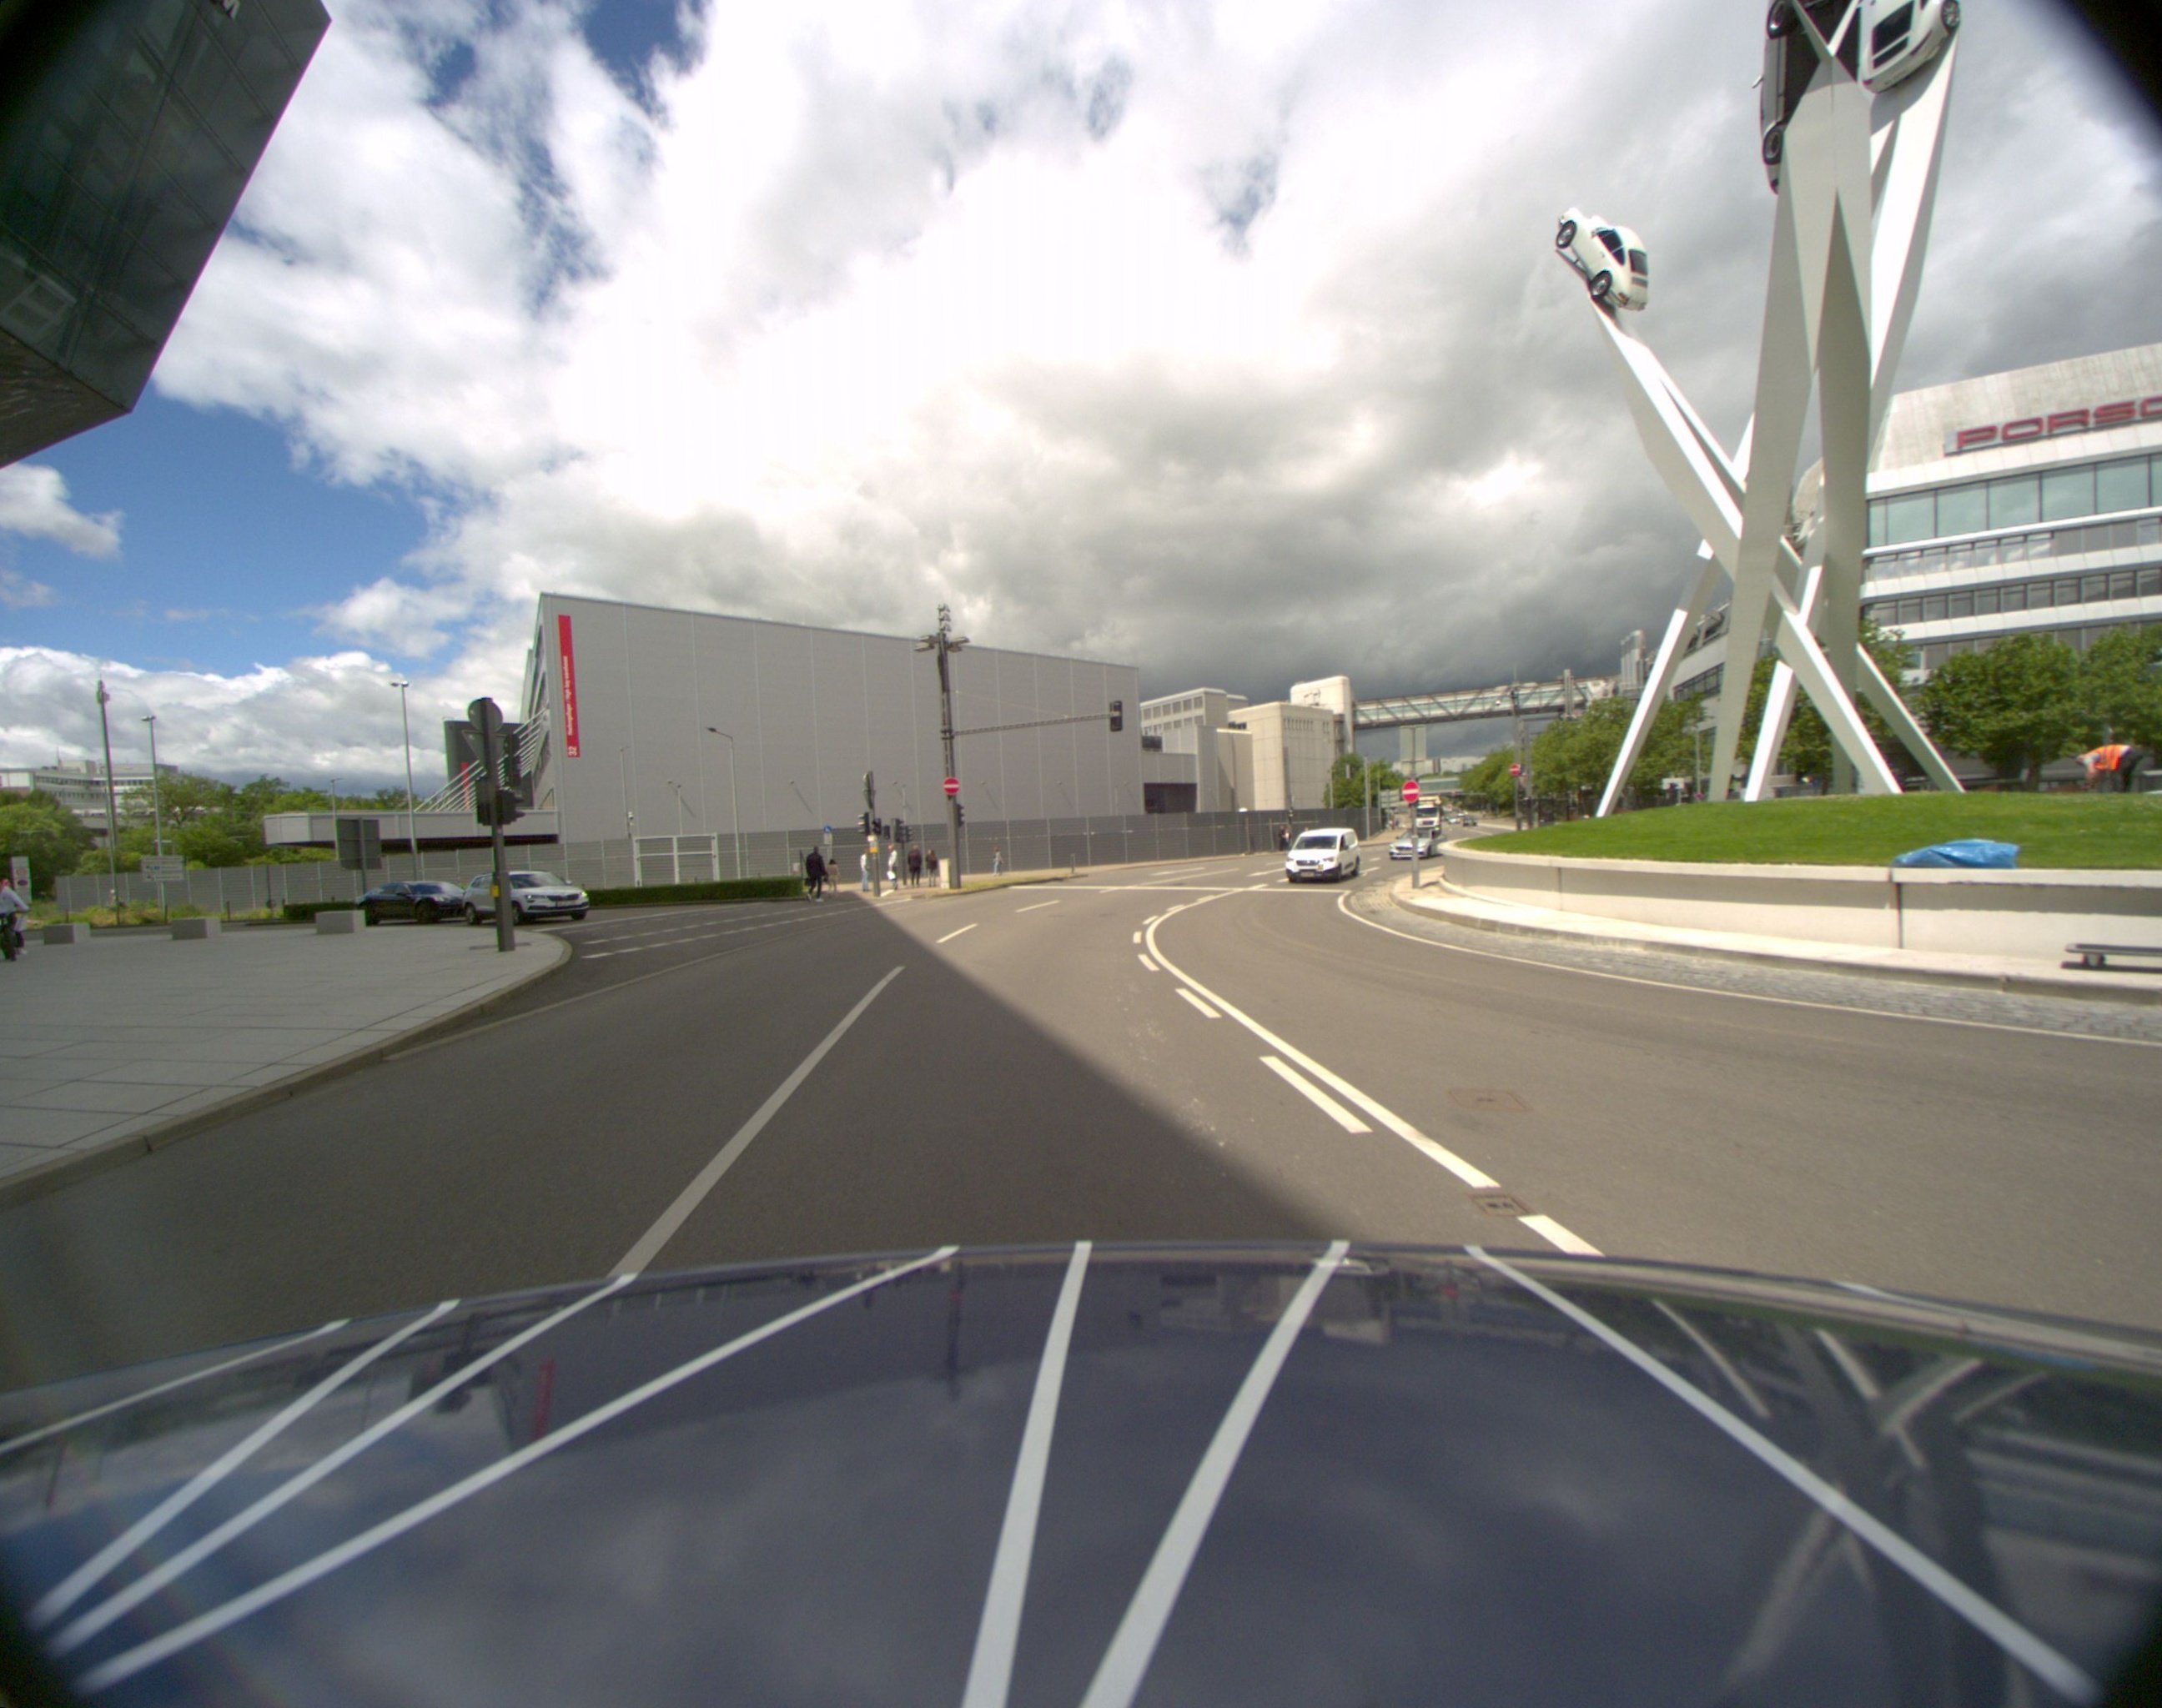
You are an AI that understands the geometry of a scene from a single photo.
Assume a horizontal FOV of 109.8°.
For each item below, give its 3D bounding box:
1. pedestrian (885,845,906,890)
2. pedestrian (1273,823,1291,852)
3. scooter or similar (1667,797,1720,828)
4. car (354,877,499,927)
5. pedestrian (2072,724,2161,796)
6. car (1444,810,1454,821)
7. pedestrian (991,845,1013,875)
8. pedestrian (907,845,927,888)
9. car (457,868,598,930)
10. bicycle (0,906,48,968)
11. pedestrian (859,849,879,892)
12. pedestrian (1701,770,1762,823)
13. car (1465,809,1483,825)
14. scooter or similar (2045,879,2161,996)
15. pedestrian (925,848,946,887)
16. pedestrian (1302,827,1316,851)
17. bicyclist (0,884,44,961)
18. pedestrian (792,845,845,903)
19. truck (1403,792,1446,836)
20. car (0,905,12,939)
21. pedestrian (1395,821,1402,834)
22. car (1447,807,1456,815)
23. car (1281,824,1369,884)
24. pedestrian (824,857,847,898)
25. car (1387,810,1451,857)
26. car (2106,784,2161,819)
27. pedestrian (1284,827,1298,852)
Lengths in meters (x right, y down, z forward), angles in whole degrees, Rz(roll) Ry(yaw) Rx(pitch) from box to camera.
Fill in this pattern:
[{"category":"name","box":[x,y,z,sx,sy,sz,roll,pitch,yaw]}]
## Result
[{"category":"pedestrian","box":[-7.848,0.547,32.167,0.620,1.837,0.671,-5,3,-21]},{"category":"pedestrian","box":[13.254,-1.068,50.169,0.793,1.856,0.660,-5,3,-14]},{"category":"scooter or similar","box":[21.843,-1.479,27.115,1.403,1.020,0.550,-4,3,5]},{"category":"car","box":[-21.958,1.607,25.503,4.149,1.375,1.841,-3,1,20]},{"category":"pedestrian","box":[21.210,-1.921,15.570,0.966,1.400,0.852,-7,10,-44]},{"category":"car","box":[79.112,-8.299,163.352,1.869,1.945,4.716,-4,3,25]},{"category":"pedestrian","box":[-4.428,0.334,42.628,0.922,1.577,0.694,-6,3,-34]},{"category":"pedestrian","box":[-7.047,0.543,32.689,0.620,1.785,0.672,-5,3,-19]},{"category":"car","box":[-16.514,1.275,22.648,3.989,1.541,1.841,-1,4,30]},{"category":"bicycle","box":[-24.163,1.861,17.142,1.921,1.267,0.782,-3,3,41]},{"category":"pedestrian","box":[-8.912,0.686,31.929,0.620,1.750,0.606,-5,3,-20]},{"category":"pedestrian","box":[23.053,-2.006,26.945,1.284,1.807,0.987,-1,3,8]},{"category":"car","box":[55.109,-5.234,106.592,1.869,1.945,4.716,-4,3,25]},{"category":"scooter or similar","box":[8.751,0.655,6.052,0.910,0.843,1.258,-4,1,-34]},{"category":"pedestrian","box":[-6.260,0.569,32.718,0.672,1.629,0.620,-5,3,-3]},{"category":"pedestrian","box":[15.786,-1.042,52.598,0.660,1.599,0.824,-3,3,35]},{"category":"bicyclist","box":[-24.097,1.542,17.061,0.934,1.644,0.774,-2,3,40]},{"category":"pedestrian","box":[-9.324,0.700,27.030,0.954,1.973,1.384,-2,1,40]},{"category":"truck","box":[32.800,-3.829,72.906,2.709,3.864,10.751,-1,3,19]},{"category":"car","box":[-57.607,3.673,38.542,3.996,1.693,2.000,-4,2,4]},{"category":"pedestrian","box":[46.556,-3.874,111.324,0.795,1.711,0.732,-4,3,20]},{"category":"car","box":[97.649,-11.366,200.183,1.869,1.945,4.716,-4,3,25]},{"category":"car","box":[9.066,-0.042,27.996,1.821,2.002,4.399,-2,1,35]},{"category":"pedestrian","box":[-9.434,0.899,29.209,0.583,1.488,0.771,-5,2,-8]},{"category":"car","box":[16.904,-1.042,37.907,1.868,1.945,4.718,-3,3,36]},{"category":"car","box":[51.297,-2.538,35.659,1.815,1.473,3.601,-6,2,-29]},{"category":"pedestrian","box":[13.946,-0.968,50.375,0.663,1.607,0.464,-5,3,-14]}]
